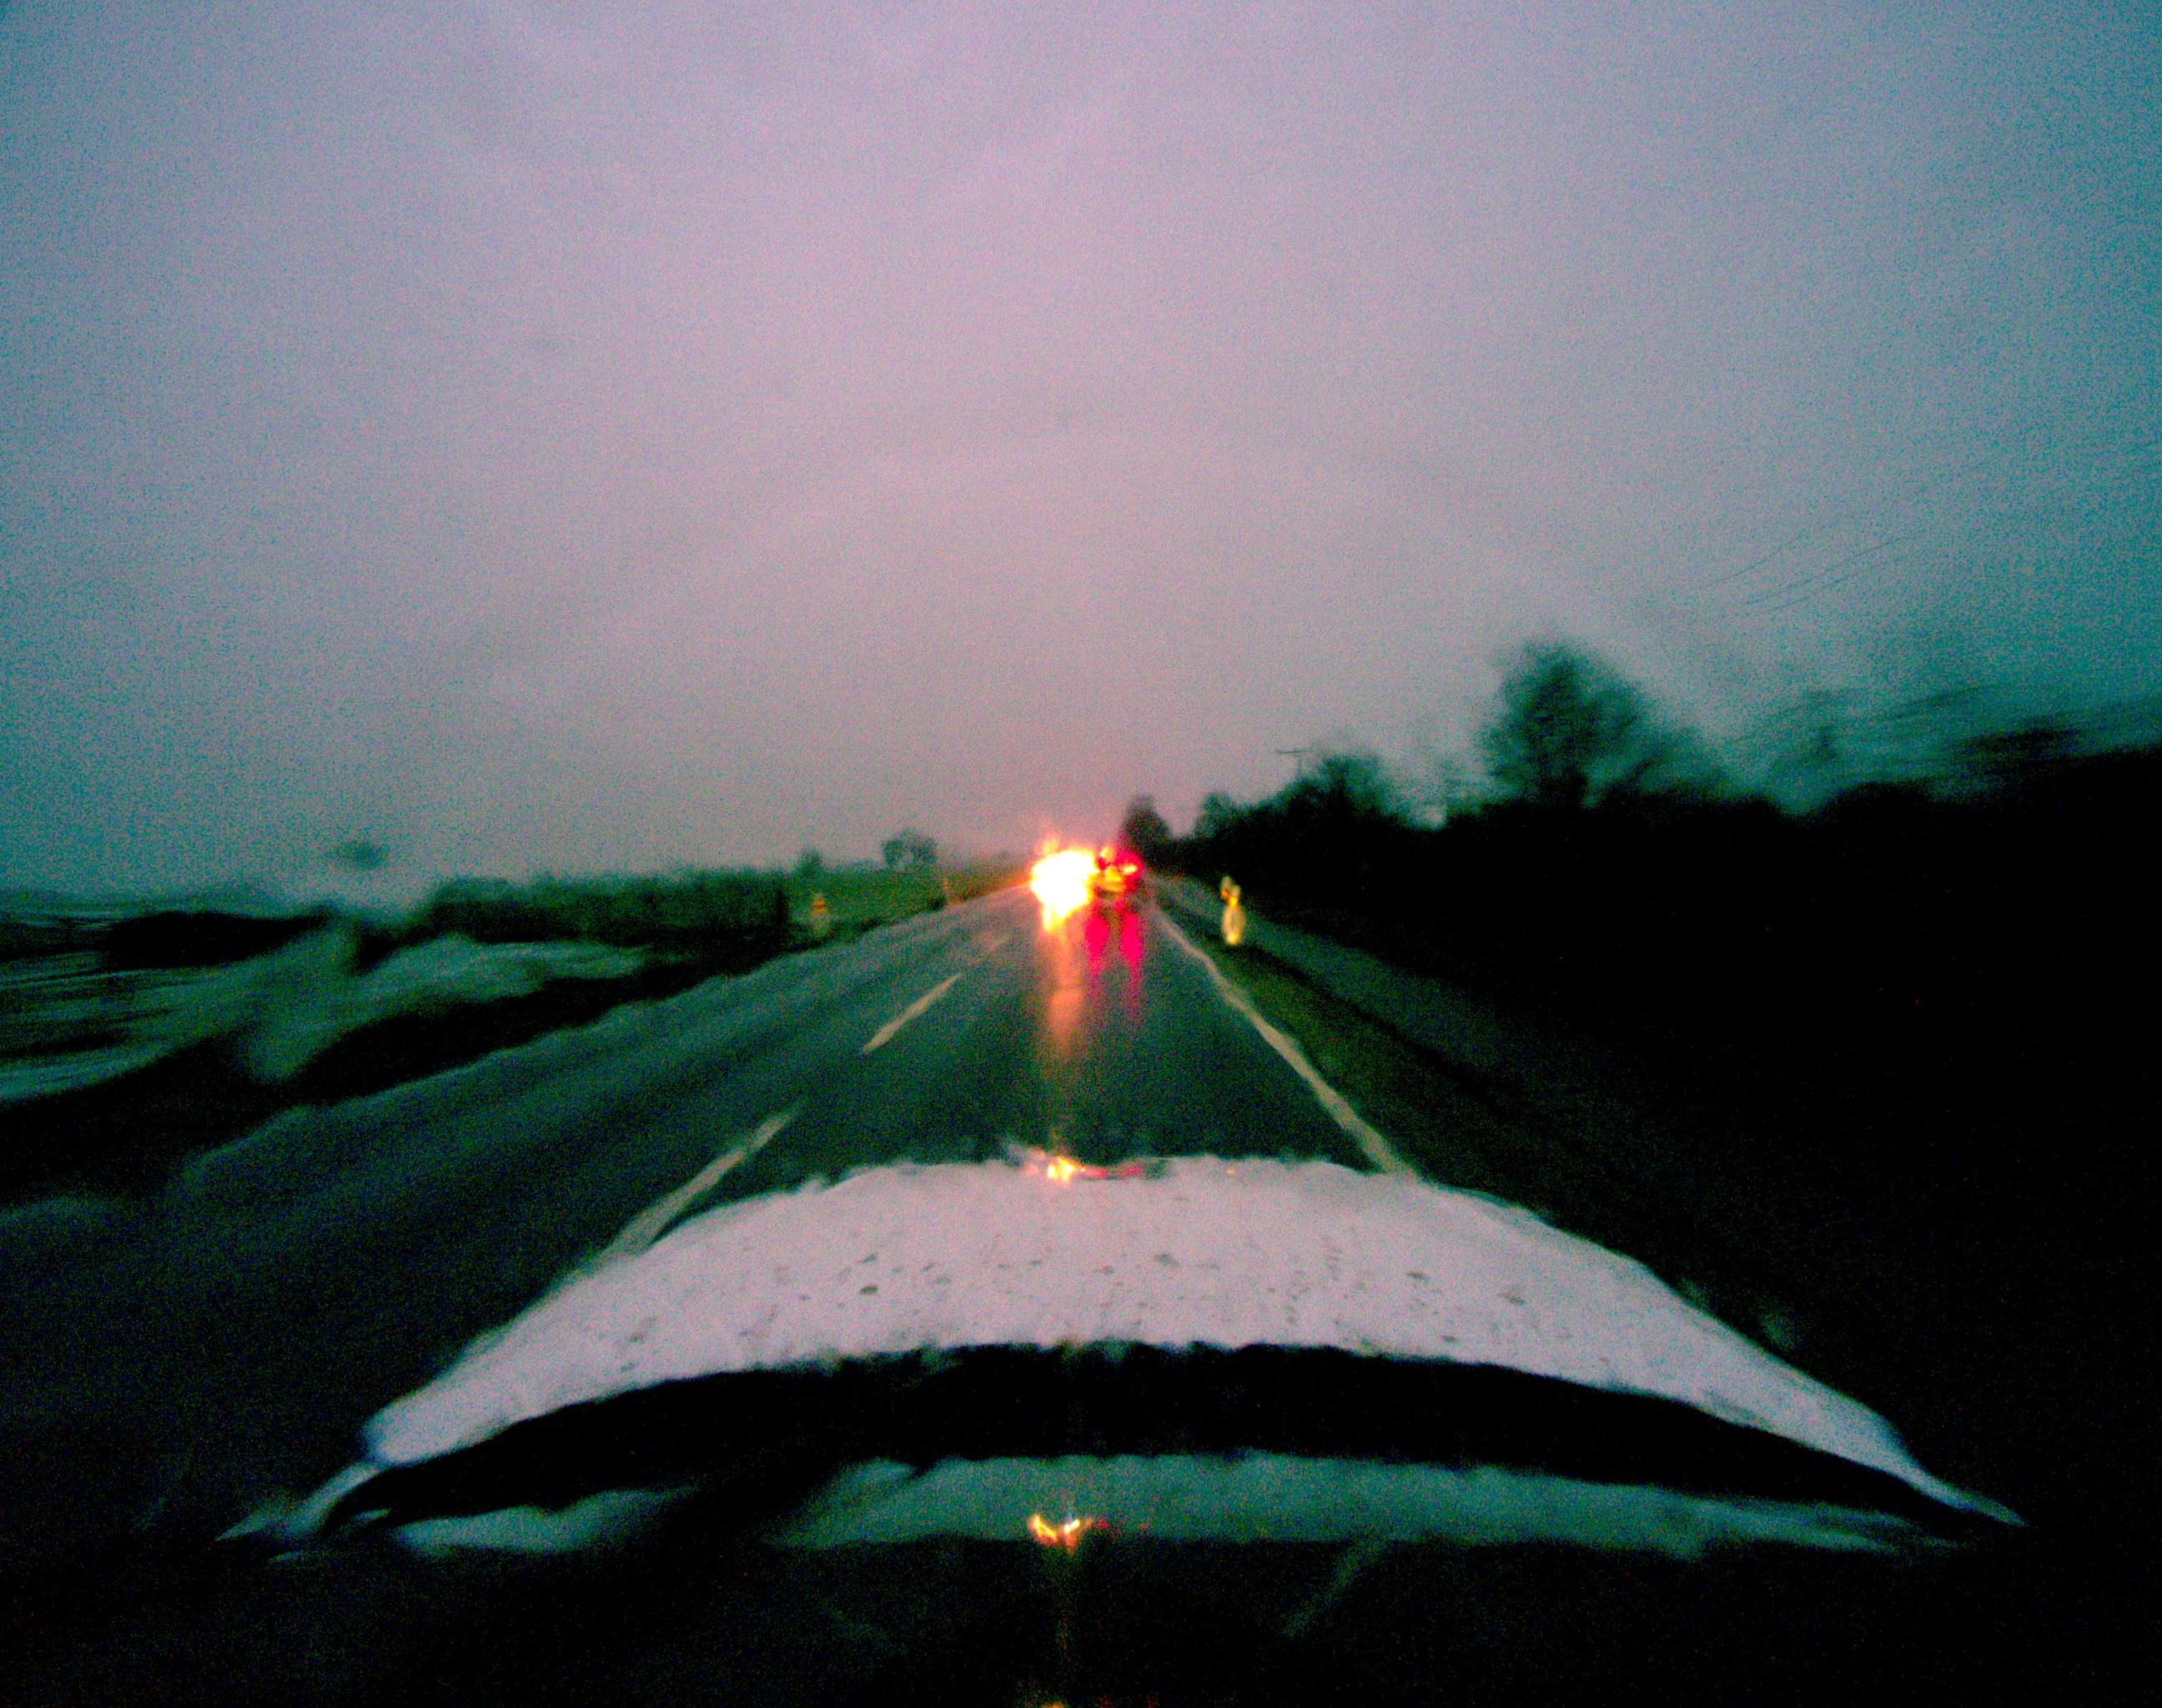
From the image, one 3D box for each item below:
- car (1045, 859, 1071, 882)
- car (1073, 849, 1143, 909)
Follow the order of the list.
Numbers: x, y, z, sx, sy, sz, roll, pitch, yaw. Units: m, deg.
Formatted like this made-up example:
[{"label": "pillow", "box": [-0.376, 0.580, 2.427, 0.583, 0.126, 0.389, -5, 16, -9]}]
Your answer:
[{"label": "car", "box": [-1.811, 1.333, 65.591, 1.789, 1.686, 4.187, -3, 0, 1]}, {"label": "car", "box": [0.930, 0.904, 27.909, 2.112, 1.820, 4.981, -2, -3, 2]}]
